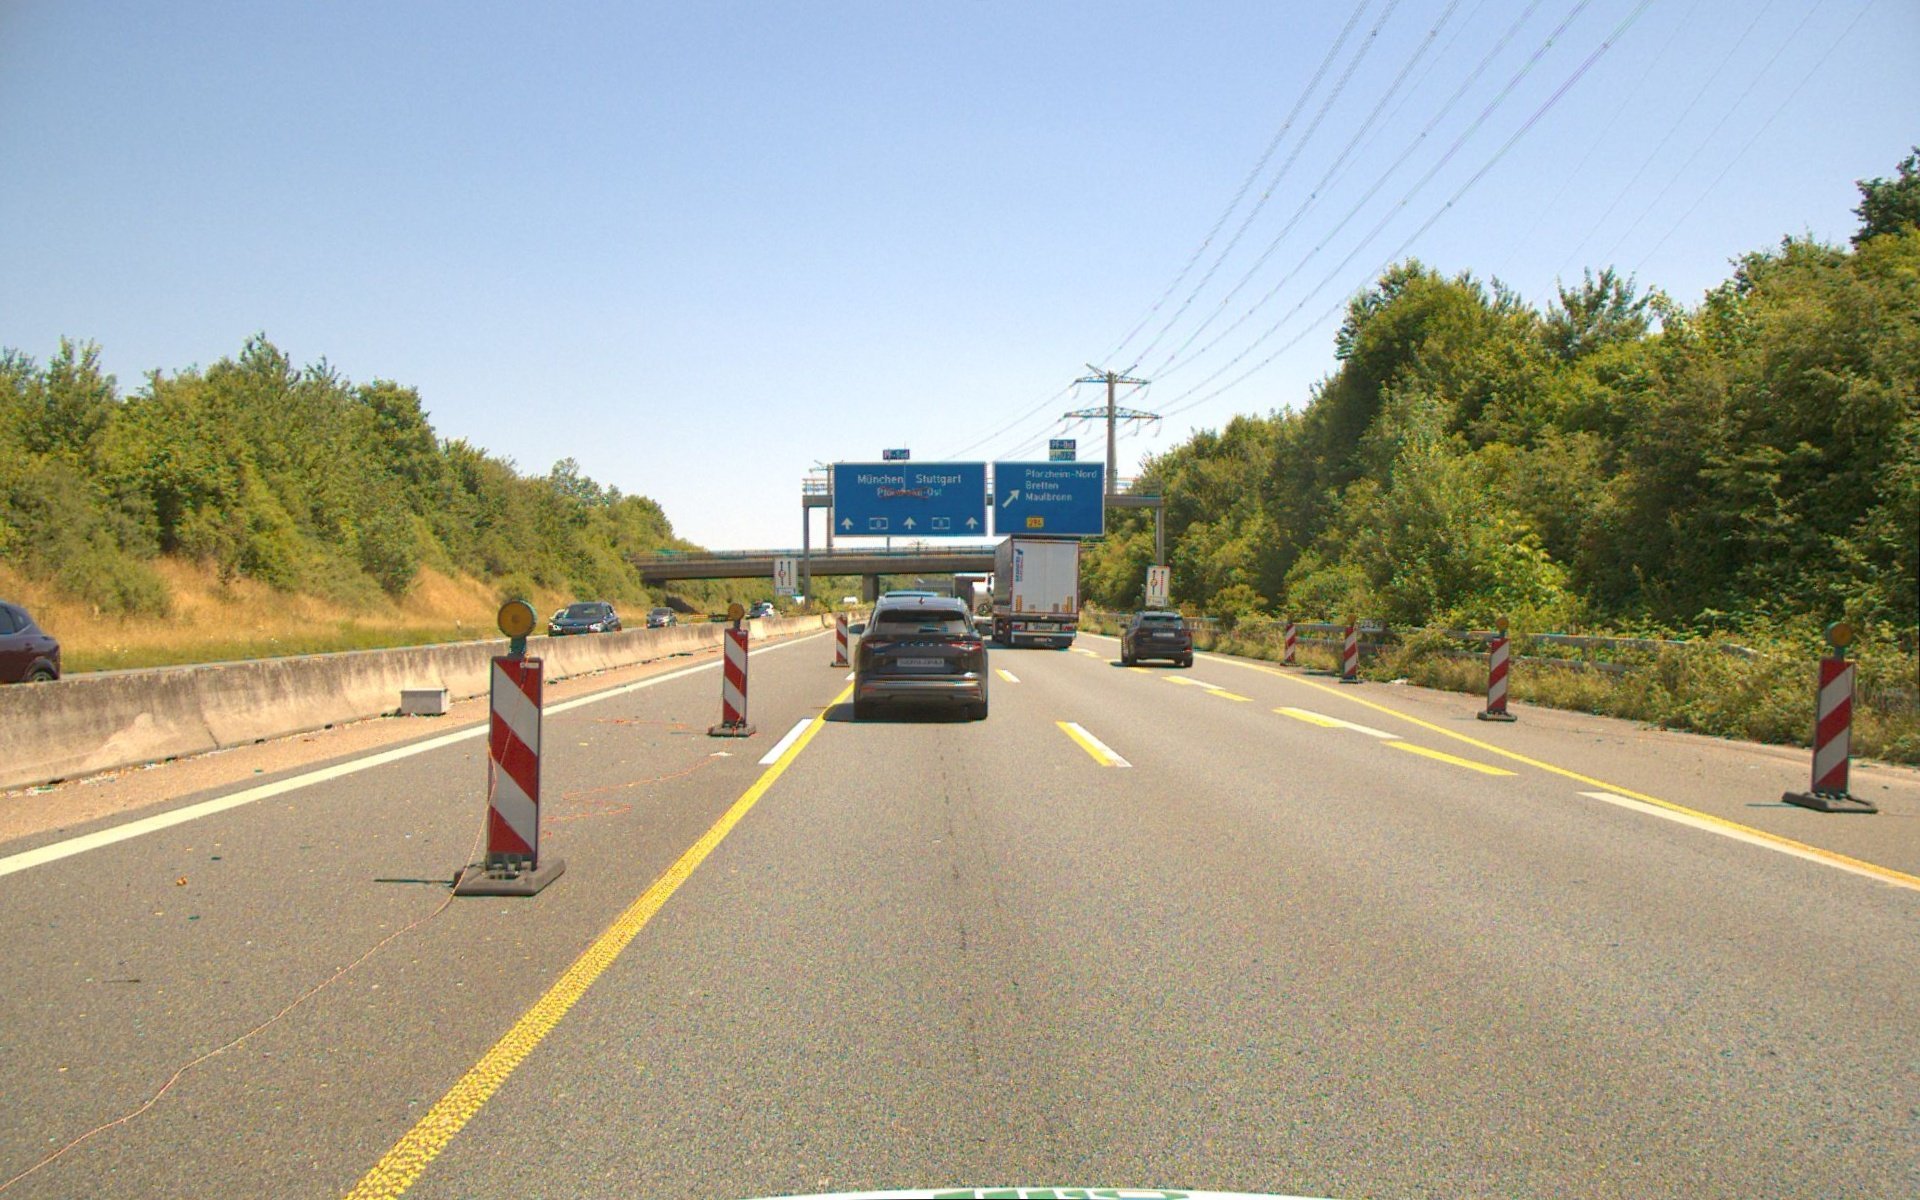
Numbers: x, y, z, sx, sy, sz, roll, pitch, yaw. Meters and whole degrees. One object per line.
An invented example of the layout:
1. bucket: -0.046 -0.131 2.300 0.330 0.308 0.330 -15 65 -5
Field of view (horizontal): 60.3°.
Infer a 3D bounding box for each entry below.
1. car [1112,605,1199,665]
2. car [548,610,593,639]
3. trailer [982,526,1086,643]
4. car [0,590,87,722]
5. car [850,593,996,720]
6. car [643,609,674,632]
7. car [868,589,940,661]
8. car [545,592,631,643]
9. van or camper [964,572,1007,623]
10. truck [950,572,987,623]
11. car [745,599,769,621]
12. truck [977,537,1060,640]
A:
1. car: 5.351 0.927 45.718 1.743 1.515 4.462 1 0 -2
2. car: -20.684 1.273 88.015 1.542 1.490 3.778 -1 0 -1
3. trailer: 2.695 -0.547 64.536 3.004 4.113 11.481 1 0 -3
4. car: -11.707 0.641 18.314 1.811 1.486 4.487 -1 0 -2
5. car: -0.554 0.709 23.298 1.857 1.620 4.440 0 0 -2
6. car: -21.249 1.412 116.575 1.469 1.575 3.999 -1 0 -1
7. car: -1.558 0.651 45.855 1.857 1.873 4.441 1 0 -2
8. car: -12.681 0.577 56.675 1.953 1.628 4.581 -1 0 -1
9. van or camper: 1.621 -0.157 108.922 2.534 3.019 6.084 5 0 0
10. truck: 0.665 -0.181 145.461 3.015 4.219 13.053 1 0 0
11. car: -17.207 0.825 140.044 1.707 1.850 4.619 0 0 -3
12. truck: 2.433 -0.460 71.518 2.964 4.159 7.791 1 0 -2
